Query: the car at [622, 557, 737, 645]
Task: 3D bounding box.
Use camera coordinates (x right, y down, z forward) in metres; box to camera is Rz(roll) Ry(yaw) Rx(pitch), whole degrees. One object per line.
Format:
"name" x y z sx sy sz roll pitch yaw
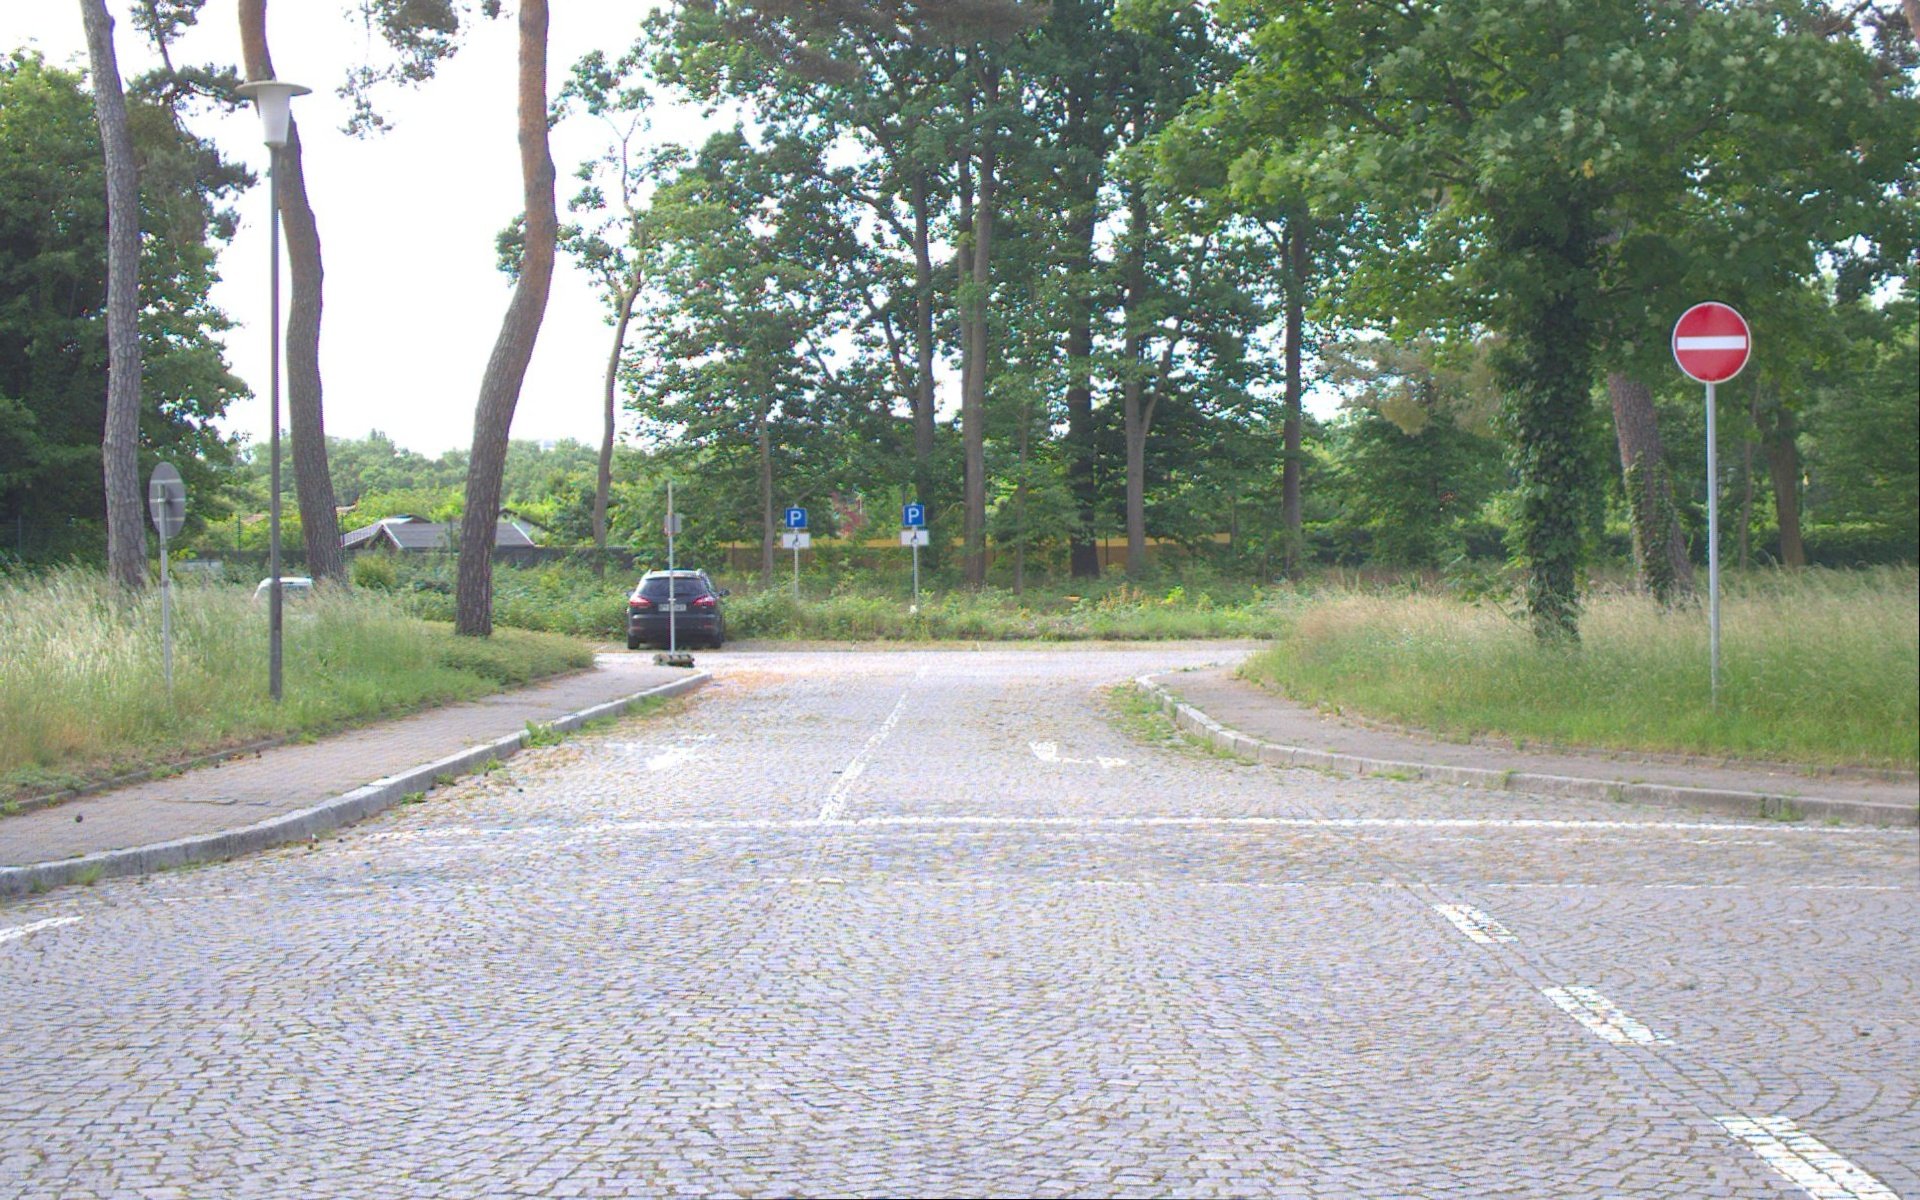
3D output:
"car" -5.496 -0.010 67.779 1.711 1.605 4.058 1 1 3

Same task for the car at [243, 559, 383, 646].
"car" -12.867 0.025 68.562 1.711 1.605 4.057 1 1 5
